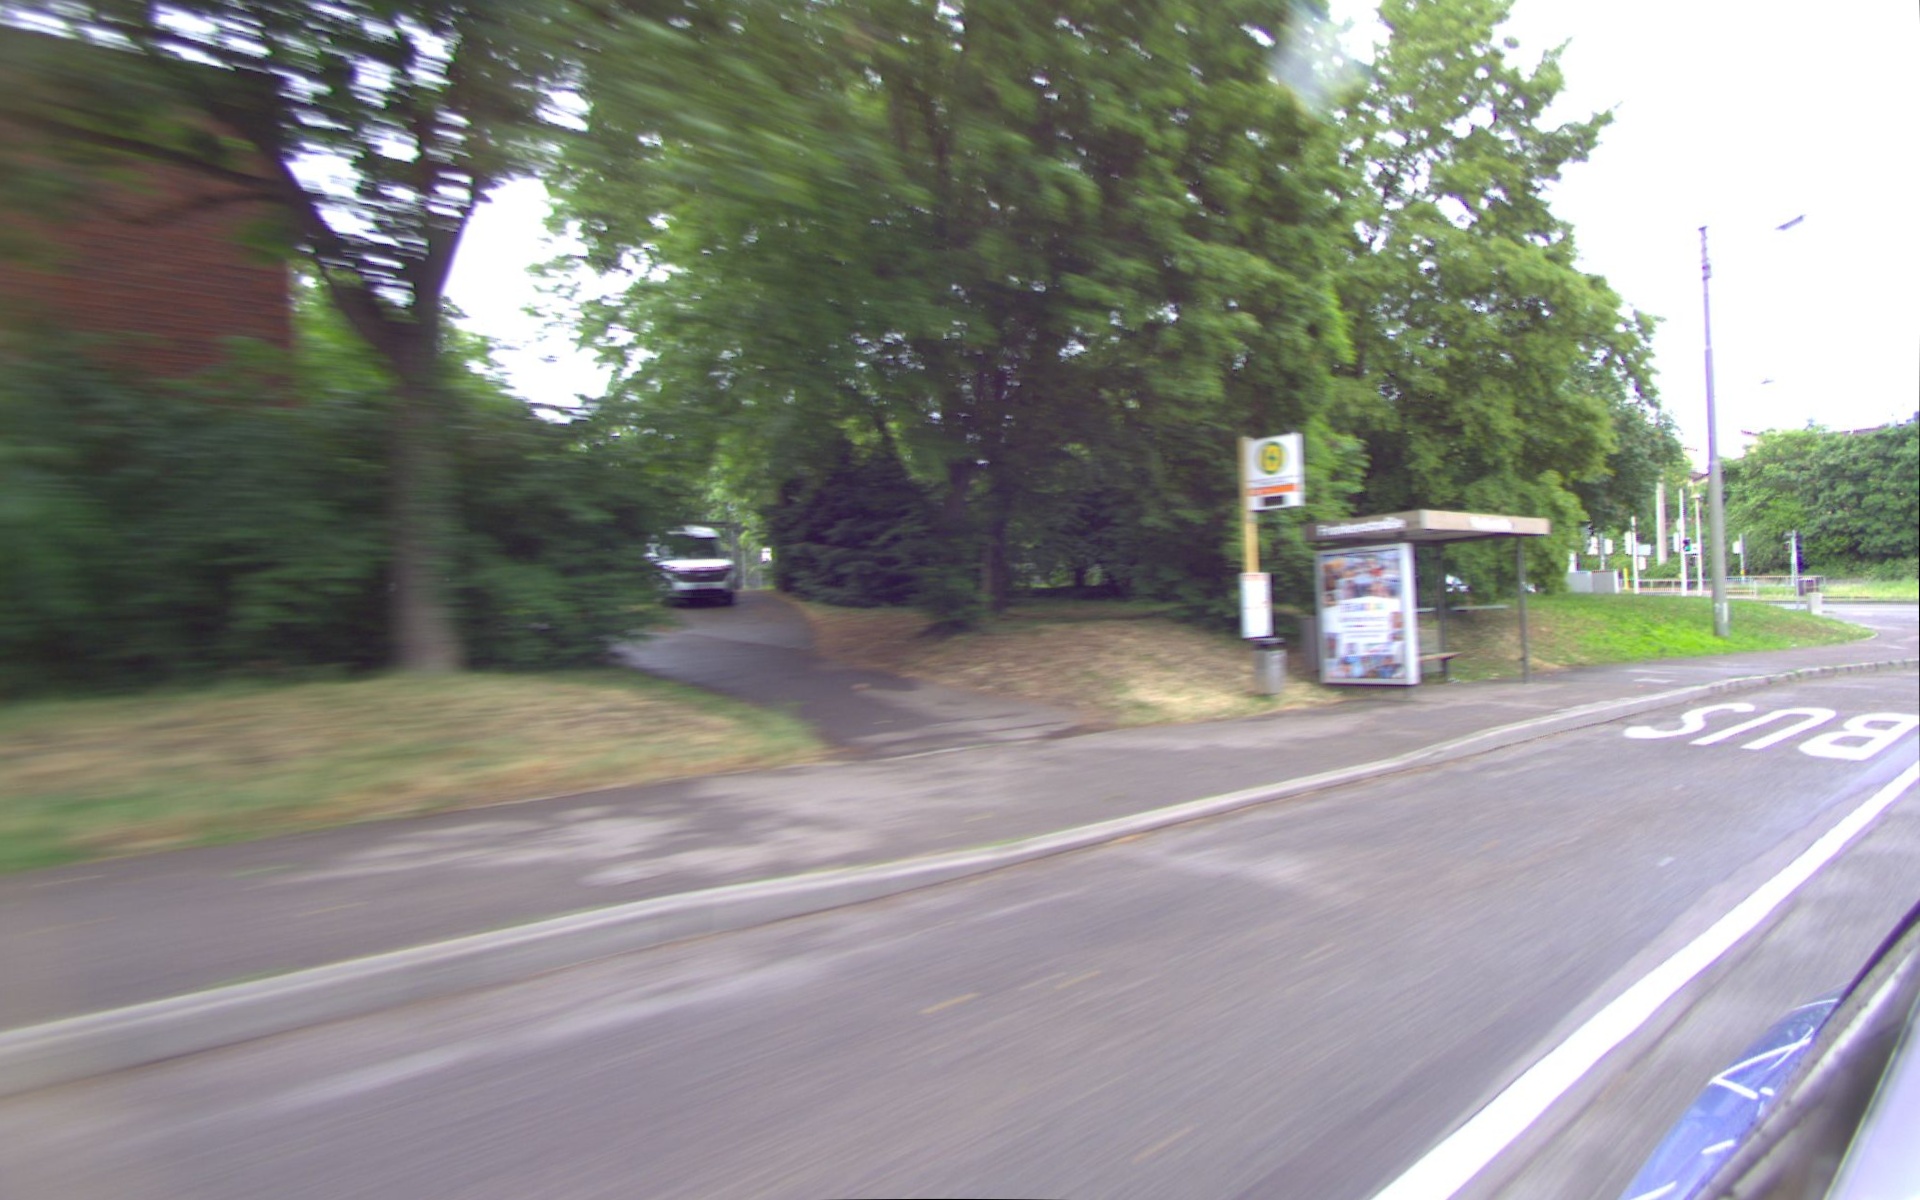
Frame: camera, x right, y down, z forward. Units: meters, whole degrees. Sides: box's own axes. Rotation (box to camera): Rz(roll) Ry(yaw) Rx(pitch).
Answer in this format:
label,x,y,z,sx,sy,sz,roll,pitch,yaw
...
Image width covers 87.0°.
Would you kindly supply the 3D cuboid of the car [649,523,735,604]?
label,x,y,z,sx,sy,sz,roll,pitch,yaw
car,-6.861,-1.002,25.667,1.764,1.800,4.341,-1,5,-19
